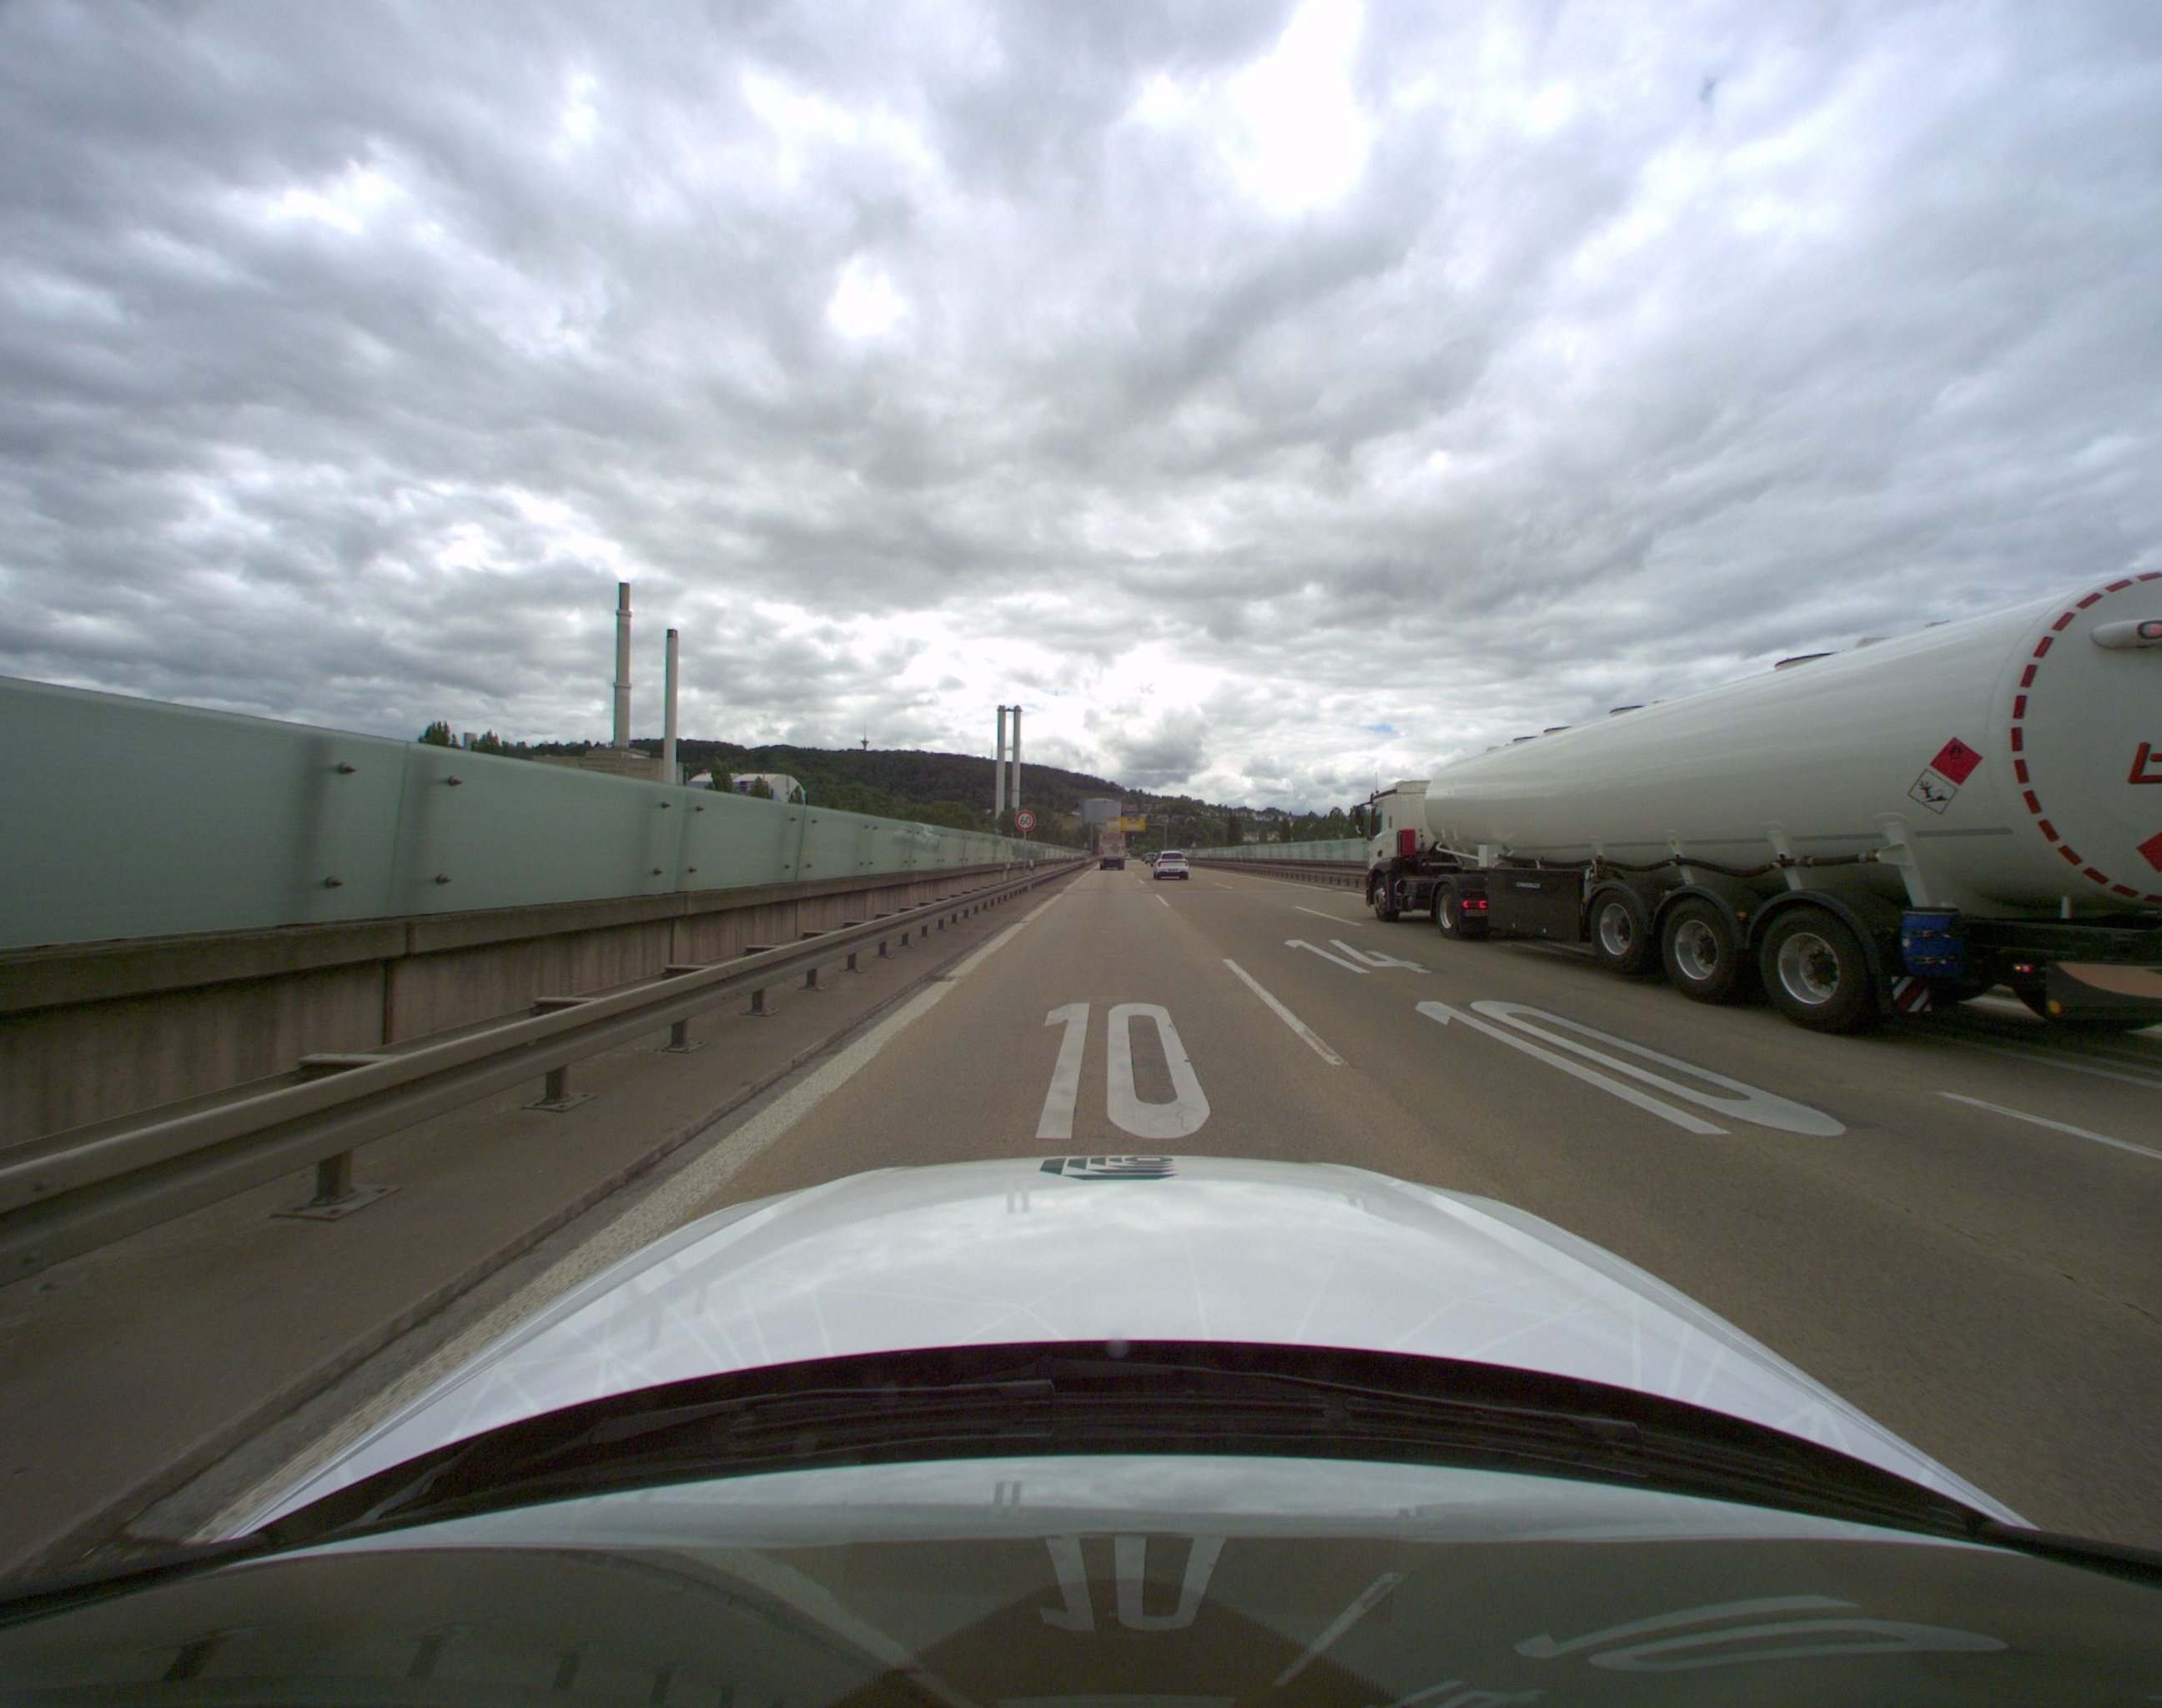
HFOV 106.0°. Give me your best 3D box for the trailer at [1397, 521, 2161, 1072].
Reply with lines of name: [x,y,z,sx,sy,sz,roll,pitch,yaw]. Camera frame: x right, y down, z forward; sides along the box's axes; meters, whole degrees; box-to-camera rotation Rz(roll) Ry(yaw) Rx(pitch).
trailer: [7.490,-0.355,10.833,2.639,3.543,11.227,0,0,2]

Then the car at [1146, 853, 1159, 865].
car: [11.002,0.703,125.384,1.916,1.785,4.116,0,0,3]

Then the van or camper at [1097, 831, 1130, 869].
van or camper: [3.336,-0.375,81.193,3.109,3.579,8.557,0,0,3]

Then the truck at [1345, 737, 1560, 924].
truck: [7.804,-0.445,17.825,2.620,3.514,4.907,0,0,2]

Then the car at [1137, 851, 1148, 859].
car: [11.652,0.183,153.722,1.914,1.434,4.119,0,0,5]

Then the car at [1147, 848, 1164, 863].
car: [9.042,0.166,98.804,1.916,1.785,4.116,0,0,3]

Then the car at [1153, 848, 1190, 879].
car: [5.297,0.527,48.241,1.916,1.785,4.116,0,0,3]

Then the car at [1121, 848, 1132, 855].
car: [13.823,-0.856,247.888,2.457,1.979,5.176,-1,0,11]
